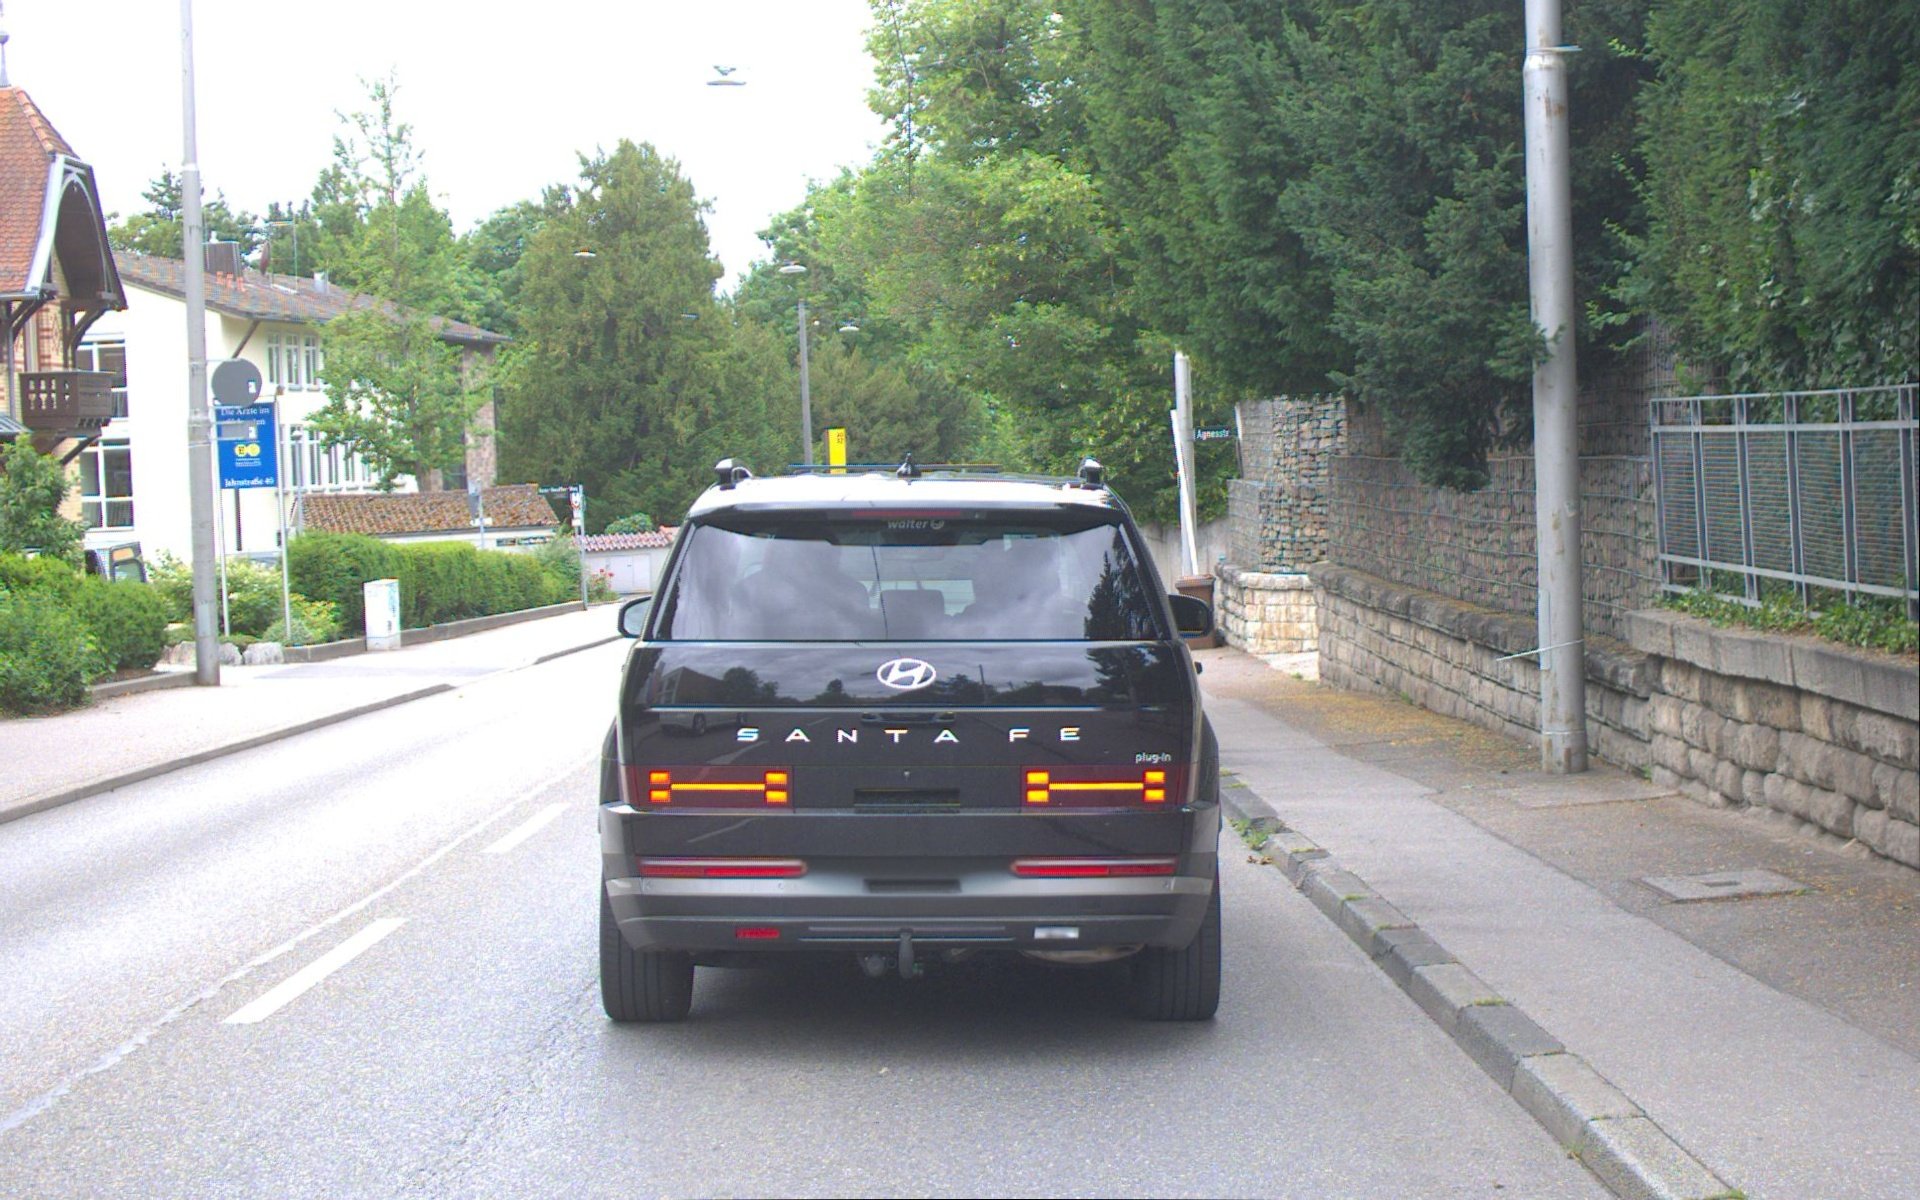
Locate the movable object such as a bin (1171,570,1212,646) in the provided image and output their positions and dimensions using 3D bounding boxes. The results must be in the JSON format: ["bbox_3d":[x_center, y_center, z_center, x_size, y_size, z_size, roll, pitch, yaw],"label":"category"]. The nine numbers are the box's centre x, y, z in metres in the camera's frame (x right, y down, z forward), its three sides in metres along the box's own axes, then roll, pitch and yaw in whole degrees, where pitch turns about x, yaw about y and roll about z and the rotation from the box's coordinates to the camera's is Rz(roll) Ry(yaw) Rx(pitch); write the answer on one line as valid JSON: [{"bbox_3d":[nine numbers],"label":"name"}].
[{"bbox_3d":[2.864,0.098,42.483,0.445,0.907,0.394,-2,1,9],"label":"movable object such as a bin"}]

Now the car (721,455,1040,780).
[{"bbox_3d":[-0.564,0.026,23.686,1.957,1.949,4.224,1,3,-2],"label":"car"}]

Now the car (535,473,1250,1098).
[{"bbox_3d":[-0.185,0.466,11.629,1.957,1.707,4.223,1,1,0],"label":"car"}]
